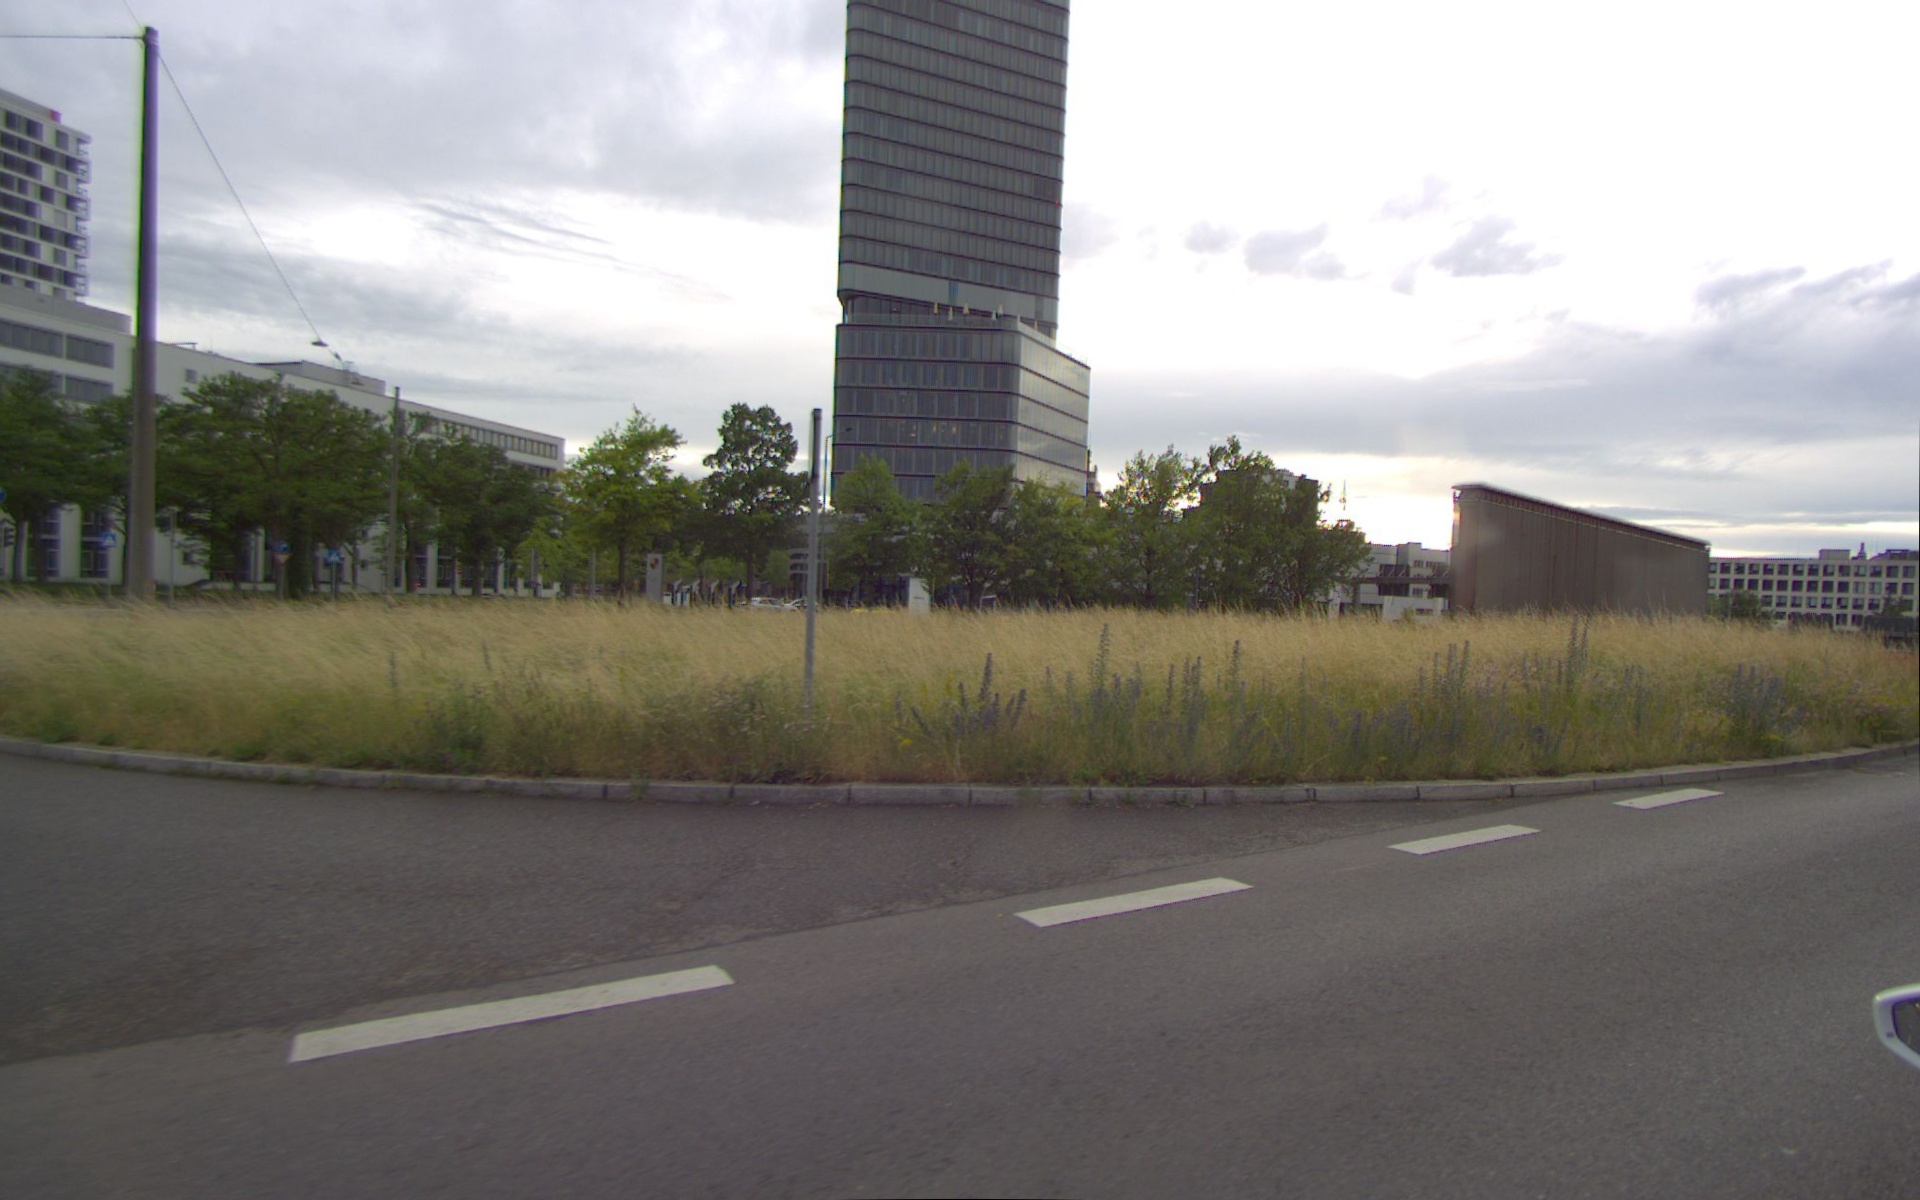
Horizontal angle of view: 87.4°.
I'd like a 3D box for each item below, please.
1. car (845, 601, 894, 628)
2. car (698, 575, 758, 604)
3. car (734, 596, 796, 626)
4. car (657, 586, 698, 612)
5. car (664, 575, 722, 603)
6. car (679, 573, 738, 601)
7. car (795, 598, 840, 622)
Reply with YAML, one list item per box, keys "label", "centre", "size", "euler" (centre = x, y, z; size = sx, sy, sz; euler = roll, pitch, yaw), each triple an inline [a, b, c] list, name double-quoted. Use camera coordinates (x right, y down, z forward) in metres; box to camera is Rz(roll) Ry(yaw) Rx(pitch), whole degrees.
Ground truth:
- label: "car"
  centre: [-7.827, 1.220, 86.891]
  size: [3.930, 2.041, 1.995]
  euler: [3, 3, -11]
- label: "car"
  centre: [-17.597, -0.785, 76.281]
  size: [3.970, 2.041, 1.975]
  euler: [1, 4, -42]
- label: "car"
  centre: [-14.422, 0.804, 74.357]
  size: [3.970, 2.041, 1.975]
  euler: [1, 4, -42]
- label: "car"
  centre: [-23.477, -0.127, 83.562]
  size: [1.960, 1.874, 4.000]
  euler: [3, 3, 4]
- label: "car"
  centre: [-21.326, -0.839, 80.334]
  size: [3.970, 2.041, 1.975]
  euler: [1, 4, -42]
- label: "car"
  centre: [-19.630, -0.990, 78.320]
  size: [3.970, 2.041, 1.975]
  euler: [1, 4, -42]
- label: "car"
  centre: [-13.503, 0.939, 95.333]
  size: [3.935, 2.041, 1.992]
  euler: [2, 3, -17]
